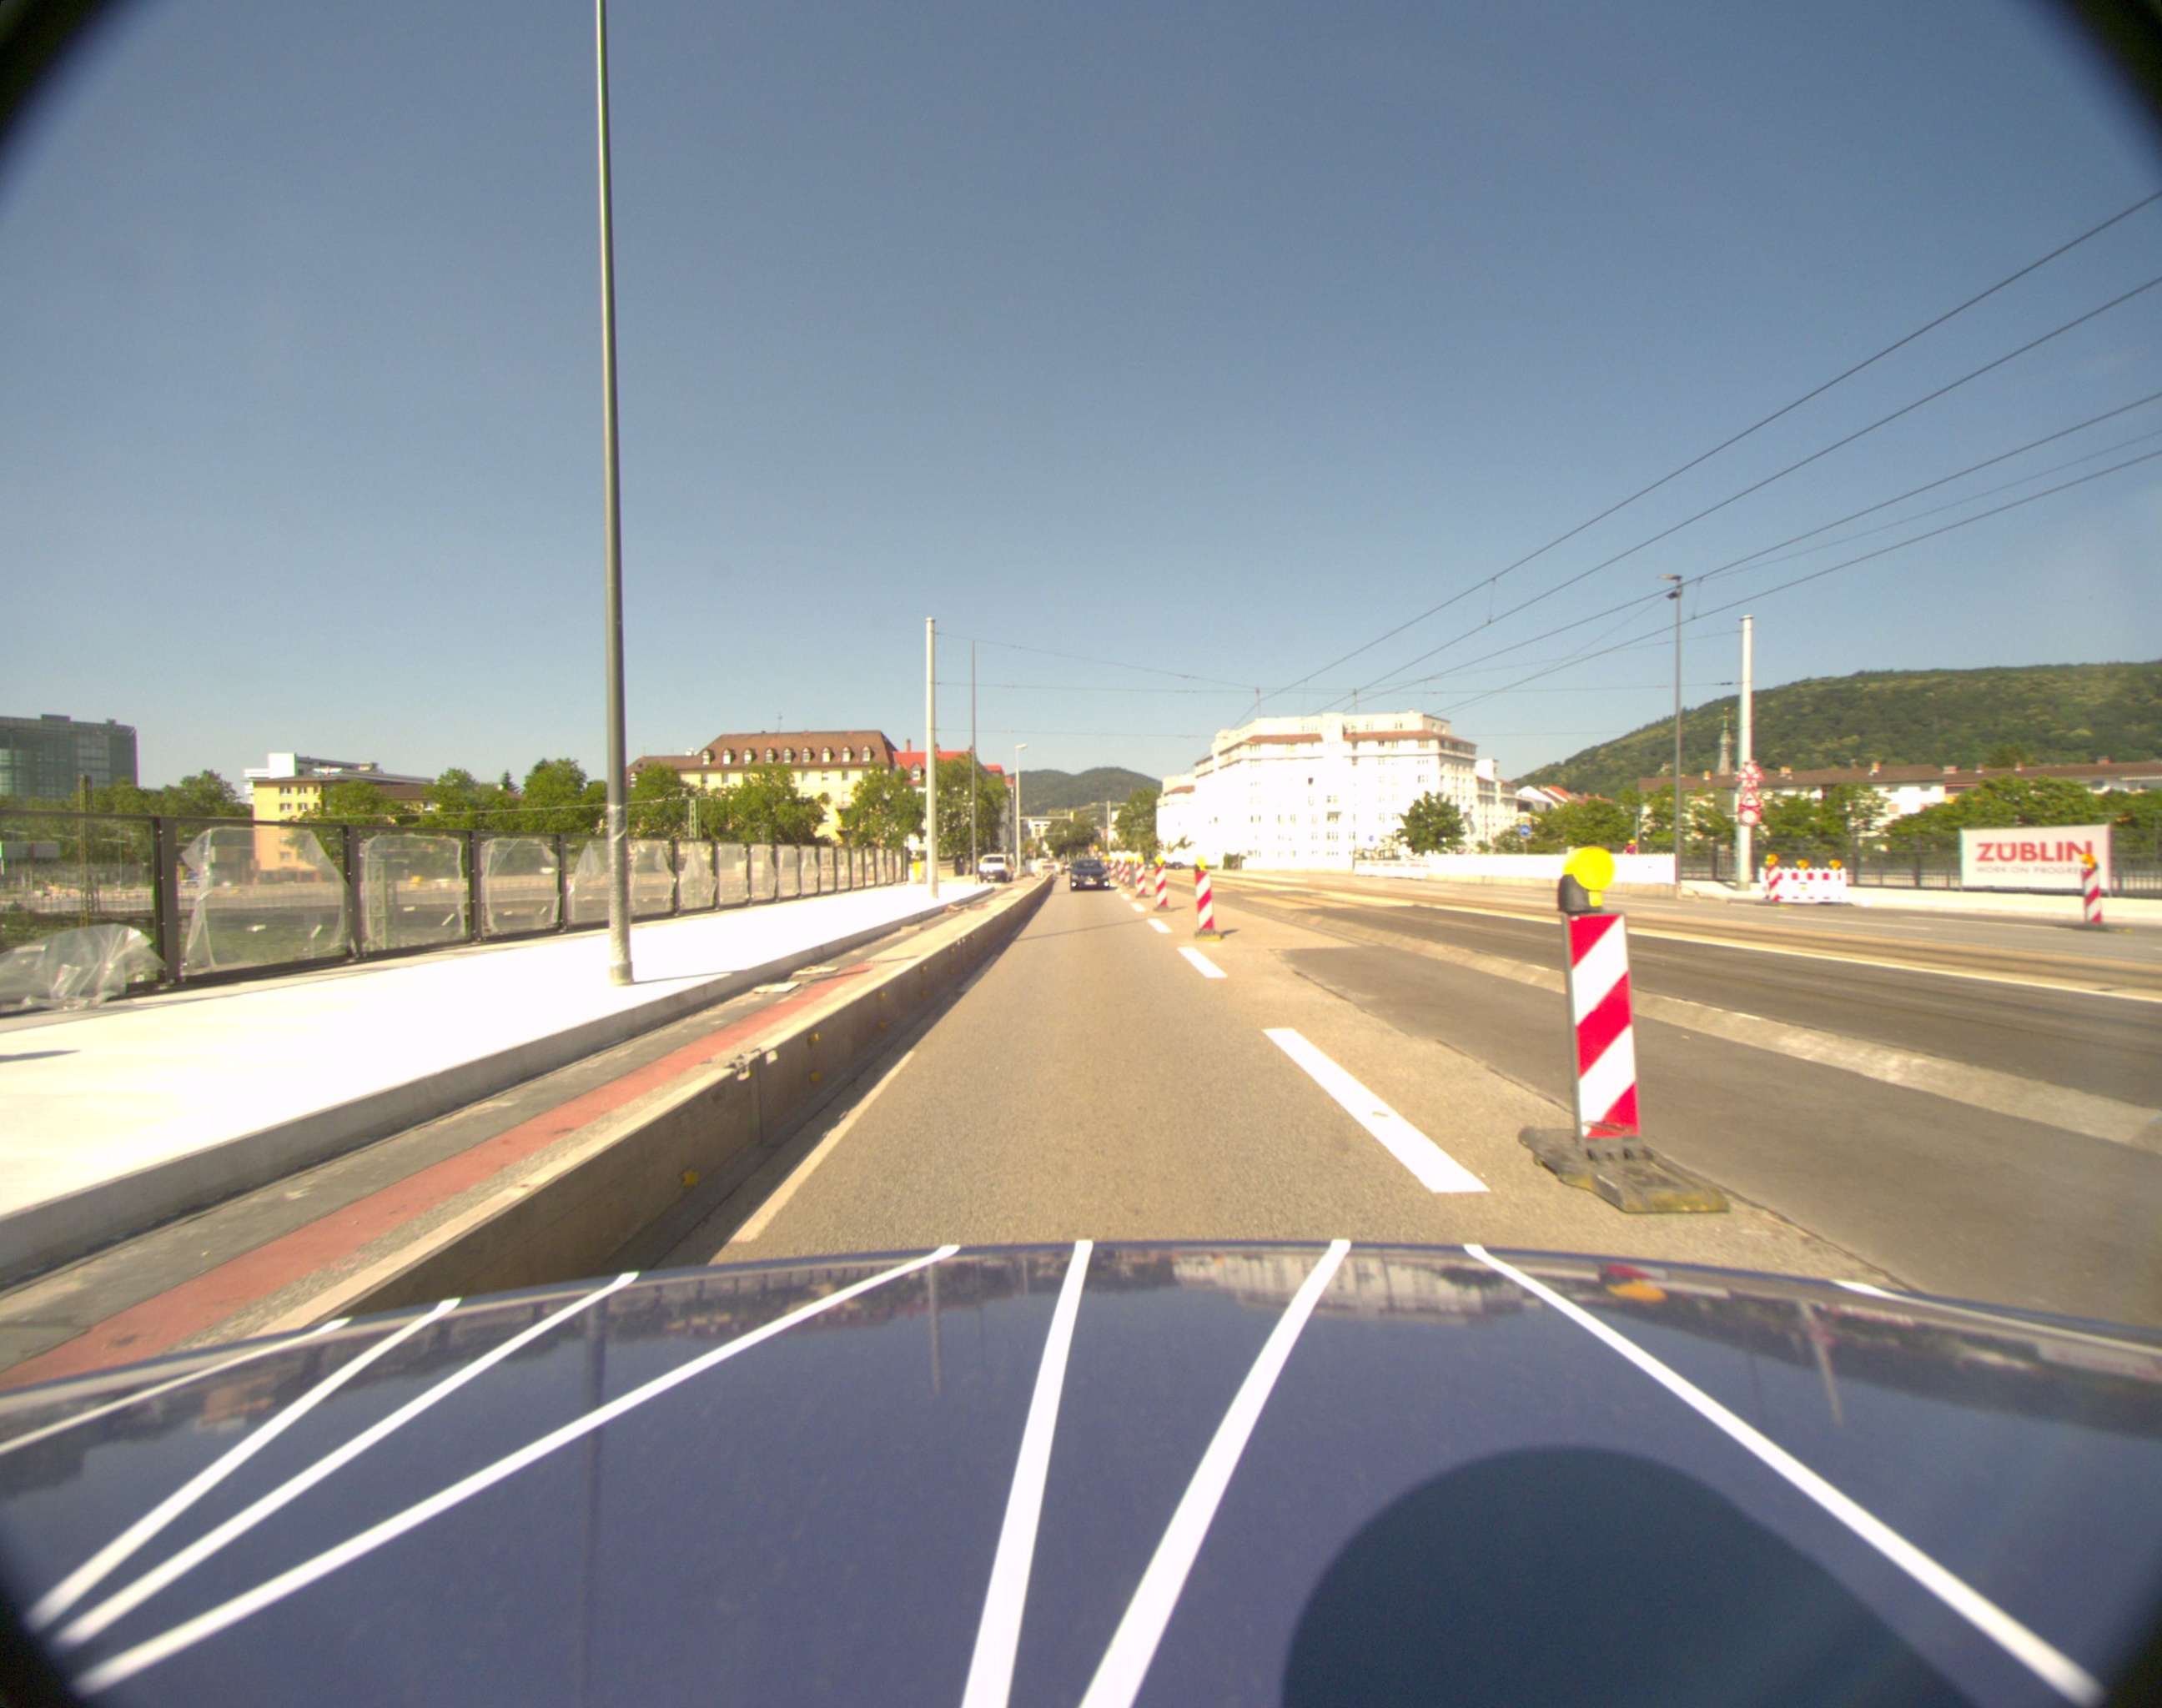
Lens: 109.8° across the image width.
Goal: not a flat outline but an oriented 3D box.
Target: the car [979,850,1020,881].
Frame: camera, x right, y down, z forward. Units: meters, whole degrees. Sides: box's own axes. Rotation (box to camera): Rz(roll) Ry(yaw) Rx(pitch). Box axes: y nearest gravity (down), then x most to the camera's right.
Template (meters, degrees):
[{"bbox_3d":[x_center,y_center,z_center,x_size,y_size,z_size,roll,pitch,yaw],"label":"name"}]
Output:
[{"bbox_3d":[-5.787,0.813,54.813,1.938,2.078,6.471,-1,0,2],"label":"car"}]

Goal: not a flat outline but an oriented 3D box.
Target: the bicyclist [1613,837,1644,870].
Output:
[{"bbox_3d":[25.816,-0.023,35.850,0.858,1.510,0.817,-2,1,0],"label":"bicyclist"}]

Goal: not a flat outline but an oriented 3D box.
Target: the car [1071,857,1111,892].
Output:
[{"bbox_3d":[0.458,0.918,35.291,1.698,1.388,4.362,-2,1,0],"label":"car"}]

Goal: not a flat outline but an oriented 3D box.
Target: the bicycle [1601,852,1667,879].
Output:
[{"bbox_3d":[25.836,0.517,35.594,0.858,1.188,3.071,-2,1,0],"label":"bicycle"}]

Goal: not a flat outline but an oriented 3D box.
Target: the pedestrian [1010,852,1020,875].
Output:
[{"bbox_3d":[-5.718,0.798,65.908,0.761,1.973,0.843,1,1,0],"label":"pedestrian"}]
